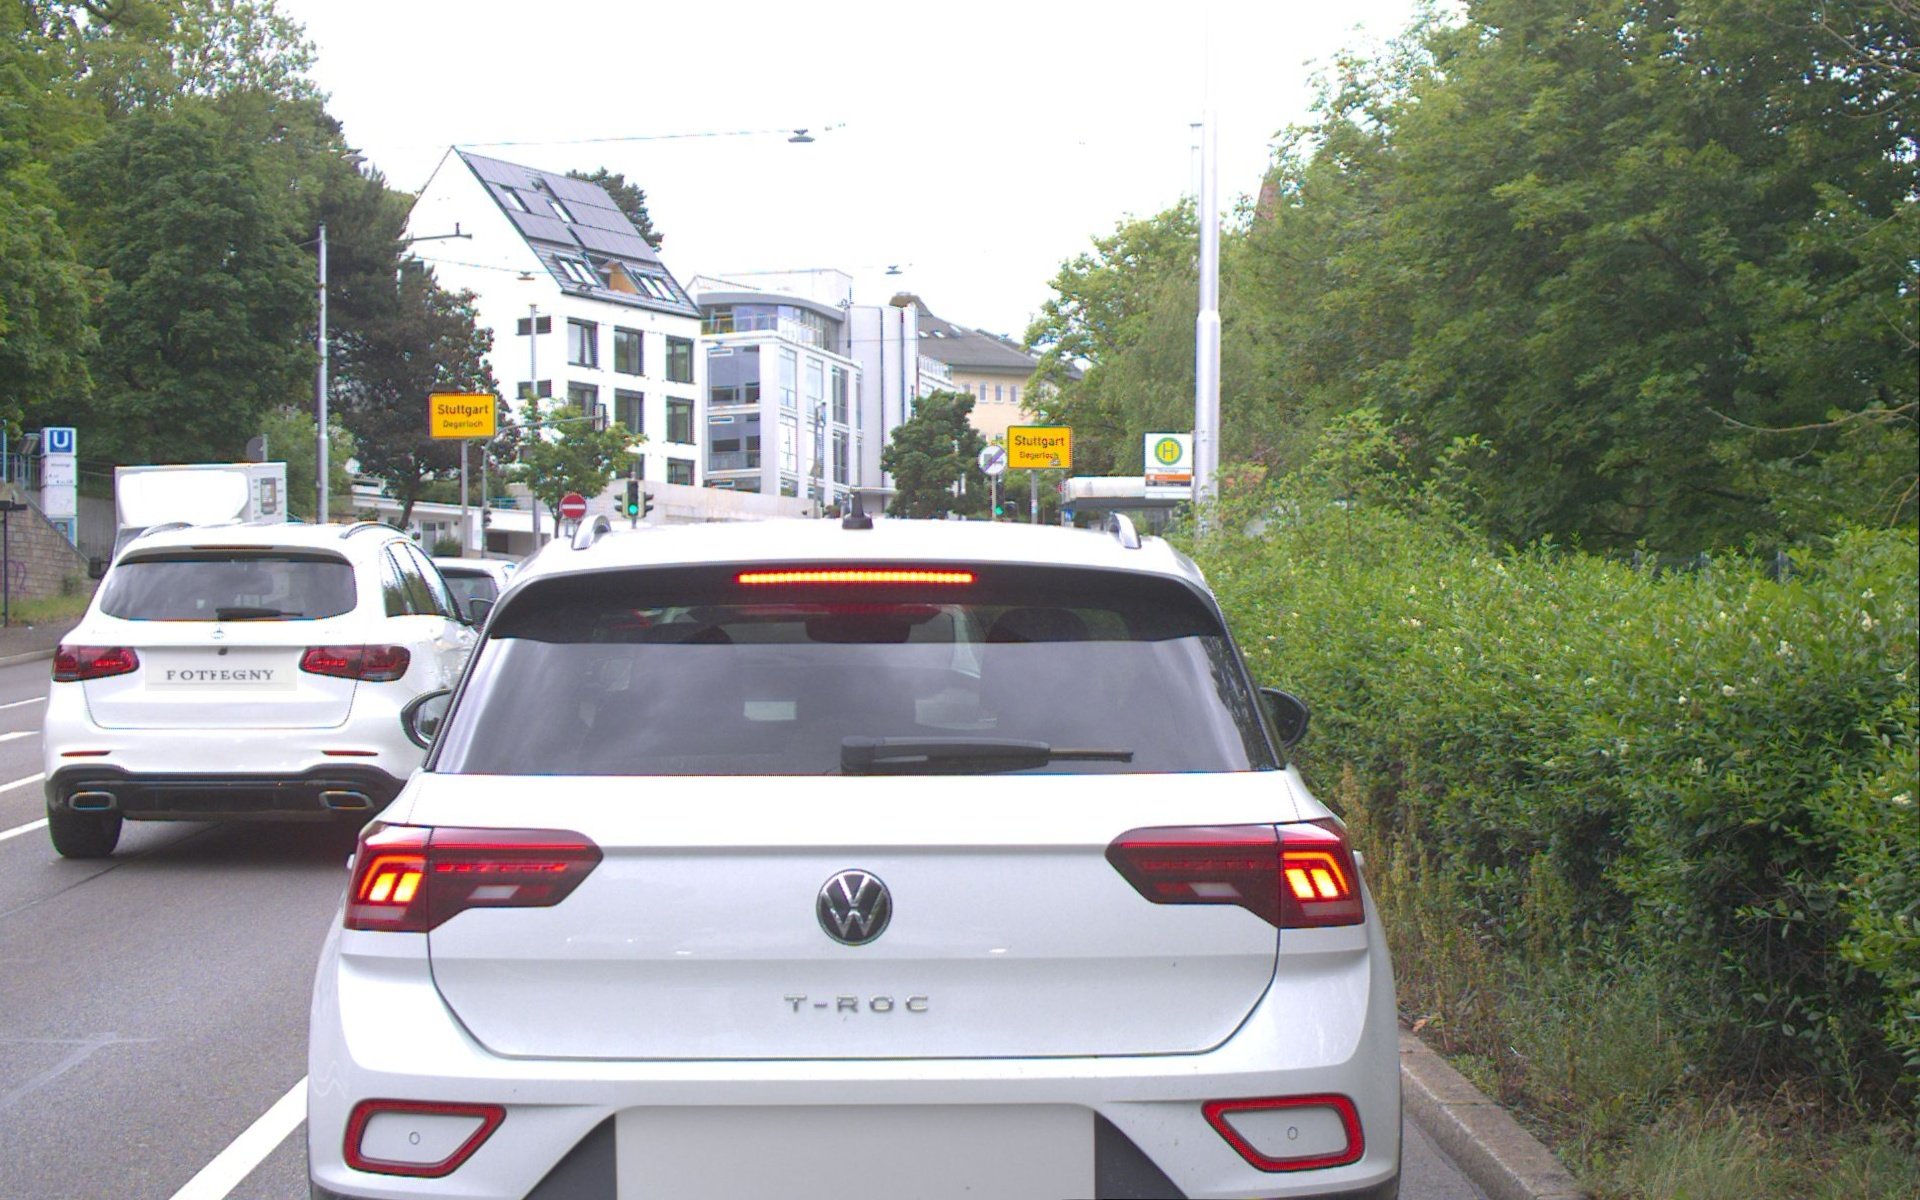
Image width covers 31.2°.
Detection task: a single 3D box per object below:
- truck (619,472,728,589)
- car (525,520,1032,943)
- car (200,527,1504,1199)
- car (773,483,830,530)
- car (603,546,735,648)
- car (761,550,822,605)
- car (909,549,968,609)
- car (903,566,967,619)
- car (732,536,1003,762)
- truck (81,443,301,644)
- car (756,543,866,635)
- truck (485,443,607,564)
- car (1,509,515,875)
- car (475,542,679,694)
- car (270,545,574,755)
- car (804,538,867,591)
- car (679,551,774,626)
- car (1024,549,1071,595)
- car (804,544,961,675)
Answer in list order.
[{"bbox_3d":[-7.077,-1.725,85.390,2.362,2.772,4.478,-2,1,-1],"label":"truck"},{"bbox_3d":[-0.715,0.451,14.617,1.829,1.520,4.000,-1,1,-1],"label":"car"},{"bbox_3d":[-0.197,0.631,6.843,1.829,1.520,4.000,0,1,-1],"label":"car"},{"bbox_3d":[-5.367,-3.149,116.659,1.829,1.520,4.000,-1,1,-1],"label":"car"},{"bbox_3d":[-4.572,-0.079,54.488,1.829,1.520,4.000,-1,1,-1],"label":"car"},{"bbox_3d":[-5.332,-0.733,109.106,1.815,1.651,3.929,-2,1,-1],"label":"car"},{"bbox_3d":[-0.754,-0.727,121.235,1.993,2.007,4.000,-1,0,0],"label":"car"},{"bbox_3d":[-0.773,-0.248,103.605,1.829,1.520,4.000,-1,1,-1],"label":"car"},{"bbox_3d":[-0.685,0.302,25.612,1.829,1.520,4.000,-1,1,-1],"label":"car"},{"bbox_3d":[-12.498,-0.901,56.382,2.293,3.040,6.980,-1,1,-3],"label":"truck"},{"bbox_3d":[-2.580,-0.217,60.373,1.829,1.520,4.000,-1,1,-1],"label":"car"},{"bbox_3d":[-9.671,-2.252,80.677,2.362,2.697,4.478,-2,1,-1],"label":"truck"},{"bbox_3d":[-3.475,0.391,17.755,1.918,1.664,4.000,0,1,-1],"label":"car"},{"bbox_3d":[-4.073,0.154,37.119,1.829,1.520,4.000,-1,1,-1],"label":"car"},{"bbox_3d":[-4.136,0.330,26.996,1.829,1.492,4.000,-1,1,-1],"label":"car"},{"bbox_3d":[-3.754,-1.087,103.821,1.829,1.520,4.000,-1,1,-1],"label":"car"},{"bbox_3d":[-4.935,-0.262,73.078,1.829,1.520,4.000,-1,1,-1],"label":"car"},{"bbox_3d":[3.977,-1.266,156.808,1.993,2.007,4.000,-1,0,0],"label":"car"},{"bbox_3d":[-0.967,0.081,42.713,1.829,1.520,4.000,-1,1,-1],"label":"car"}]
